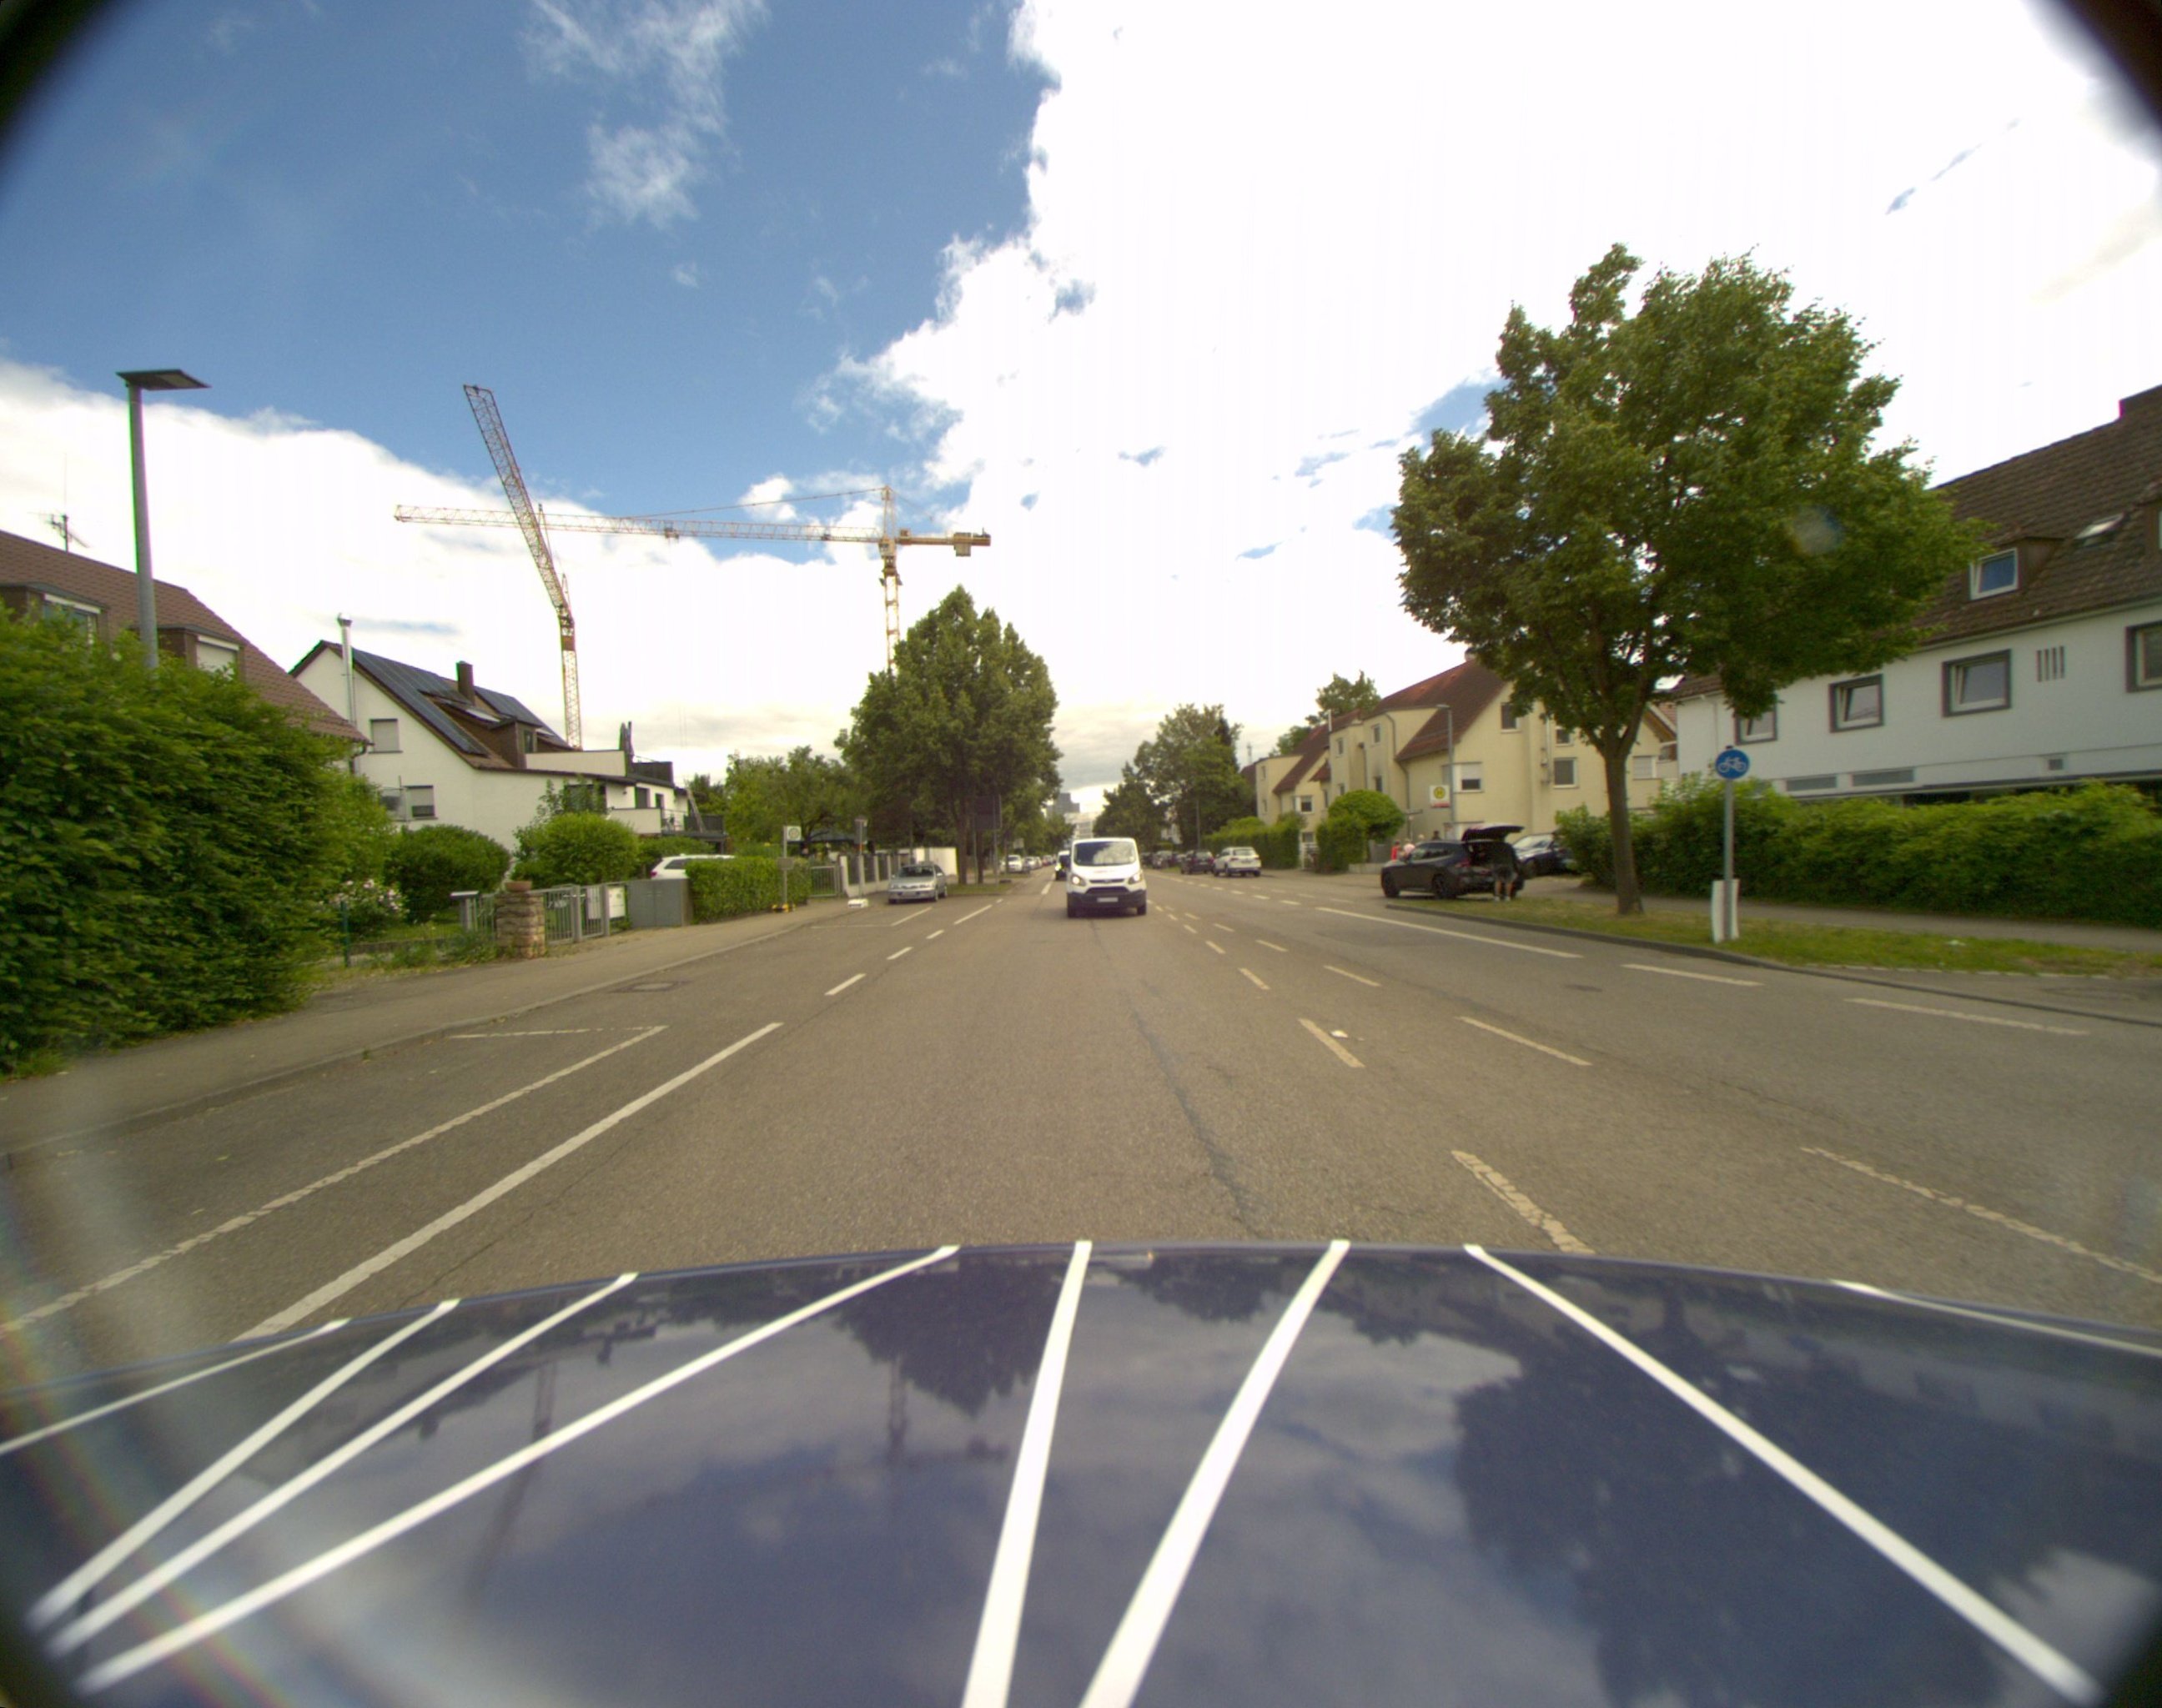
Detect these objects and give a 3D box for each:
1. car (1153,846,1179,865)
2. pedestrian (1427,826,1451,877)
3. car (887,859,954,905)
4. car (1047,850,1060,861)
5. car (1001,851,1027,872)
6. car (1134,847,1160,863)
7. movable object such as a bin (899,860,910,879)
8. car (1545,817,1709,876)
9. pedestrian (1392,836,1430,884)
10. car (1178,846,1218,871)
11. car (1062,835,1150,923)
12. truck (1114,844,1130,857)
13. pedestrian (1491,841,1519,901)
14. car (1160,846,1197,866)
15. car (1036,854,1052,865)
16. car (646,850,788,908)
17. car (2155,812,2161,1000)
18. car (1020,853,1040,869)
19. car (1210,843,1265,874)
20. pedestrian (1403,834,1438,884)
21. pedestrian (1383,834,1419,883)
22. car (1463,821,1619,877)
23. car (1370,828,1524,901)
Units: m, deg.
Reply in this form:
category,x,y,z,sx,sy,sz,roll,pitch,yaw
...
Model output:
category,x,y,z,sx,sy,sz,roll,pitch,yaw
car,7.586,0.120,67.912,1.723,1.604,3.909,-2,1,-2
pedestrian,12.812,-0.095,27.209,0.505,1.795,0.671,-2,1,-2
car,-5.933,0.995,28.622,1.616,1.369,4.385,-2,2,-1
car,-4.949,0.286,139.332,1.998,1.805,4.826,-4,1,1
car,-5.757,0.624,65.676,1.905,1.633,4.115,-2,1,-2
car,7.089,0.071,81.896,2.101,1.637,5.037,-1,0,-3
movable object such as a bin,-9.622,0.862,41.473,0.437,1.016,0.454,-2,1,0
car,17.144,-0.246,23.949,3.999,1.474,1.790,-5,1,-8
pedestrian,12.070,0.201,27.803,0.789,1.654,0.881,-6,1,-8
car,7.593,0.269,49.719,1.681,1.543,4.271,-2,0,-3
car,0.639,0.538,20.398,1.998,2.002,5.188,-2,1,1
truck,7.020,-0.620,131.420,2.429,2.031,5.994,-3,1,0
pedestrian,10.339,0.401,18.514,0.553,1.428,0.497,-1,1,30
car,7.960,0.155,62.374,1.999,1.476,4.888,-2,1,-4
car,-5.364,0.756,111.392,1.864,1.405,4.443,-5,0,1
car,-12.843,0.849,27.028,3.998,1.812,1.999,-2,1,-4
car,10.497,0.427,4.578,1.866,1.644,4.292,-3,1,-4
car,-5.678,0.777,85.543,1.866,1.602,4.685,-4,1,0
car,8.694,0.235,42.679,1.826,1.624,4.584,-2,0,-4
pedestrian,11.709,0.165,26.204,0.789,1.654,0.591,-6,1,-3
pedestrian,11.437,0.161,27.165,0.789,1.654,0.754,-6,2,-8
car,15.654,-0.176,25.895,4.530,1.545,2.033,-4,1,-18
car,9.888,0.255,20.990,1.729,1.715,4.562,-3,1,-4
